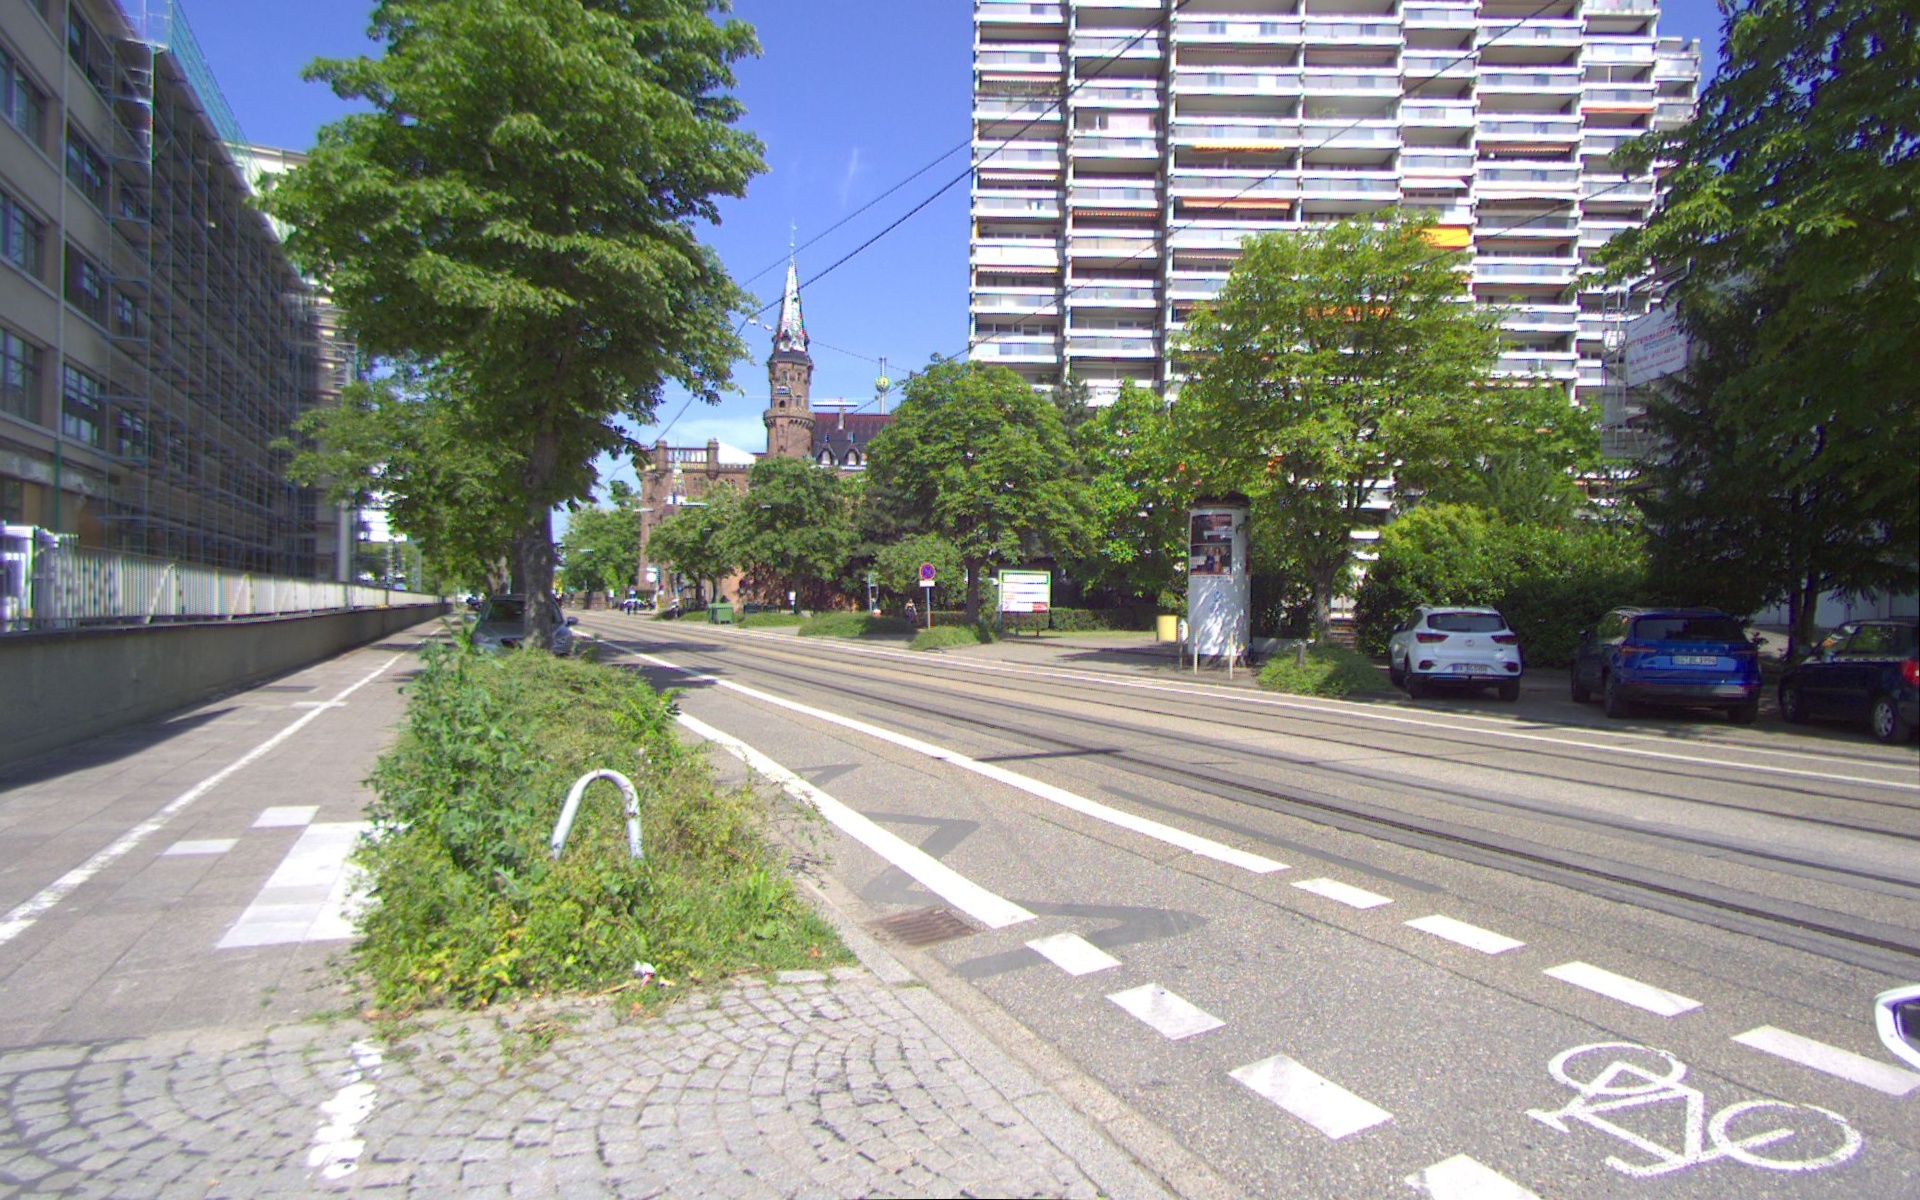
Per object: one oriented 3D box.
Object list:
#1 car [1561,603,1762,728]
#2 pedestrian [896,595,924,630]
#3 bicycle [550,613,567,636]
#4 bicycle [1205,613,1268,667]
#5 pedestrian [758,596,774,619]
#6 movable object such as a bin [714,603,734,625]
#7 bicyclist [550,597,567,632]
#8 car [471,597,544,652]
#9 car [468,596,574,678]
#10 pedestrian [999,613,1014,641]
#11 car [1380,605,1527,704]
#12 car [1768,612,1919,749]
[{"bbox_3d":[10.676,0.880,15.606,1.746,1.644,3.943,0,0,23],"label":"car"},{"bbox_3d":[-2.689,0.670,53.581,1.045,1.821,1.258,3,-1,-22],"label":"pedestrian"},{"bbox_3d":[-18.881,1.161,47.217,0.590,1.020,1.476,2,-1,-28],"label":"bicycle"},{"bbox_3d":[7.154,1.028,26.038,0.541,1.326,1.607,2,-1,-31],"label":"bicycle"},{"bbox_3d":[-15.455,0.596,79.939,1.044,1.821,1.259,3,-1,-19],"label":"pedestrian"},{"bbox_3d":[-16.703,1.001,71.125,1.247,1.473,1.074,2,0,-20],"label":"movable object such as a bin"},{"bbox_3d":[-18.876,0.700,47.222,0.624,1.628,0.697,1,-1,-28],"label":"bicyclist"},{"bbox_3d":[-13.332,0.695,29.499,1.797,1.472,3.973,2,-1,-26],"label":"car"},{"bbox_3d":[-9.117,0.713,20.723,1.797,1.514,4.081,2,-1,-26],"label":"car"},{"bbox_3d":[1.958,1.149,42.455,0.524,1.169,0.701,1,0,-4],"label":"pedestrian"},{"bbox_3d":[8.979,0.938,18.611,1.783,1.627,3.947,-1,-1,16],"label":"car"},{"bbox_3d":[12.041,0.961,12.825,1.545,1.551,3.459,1,-1,18],"label":"car"}]
